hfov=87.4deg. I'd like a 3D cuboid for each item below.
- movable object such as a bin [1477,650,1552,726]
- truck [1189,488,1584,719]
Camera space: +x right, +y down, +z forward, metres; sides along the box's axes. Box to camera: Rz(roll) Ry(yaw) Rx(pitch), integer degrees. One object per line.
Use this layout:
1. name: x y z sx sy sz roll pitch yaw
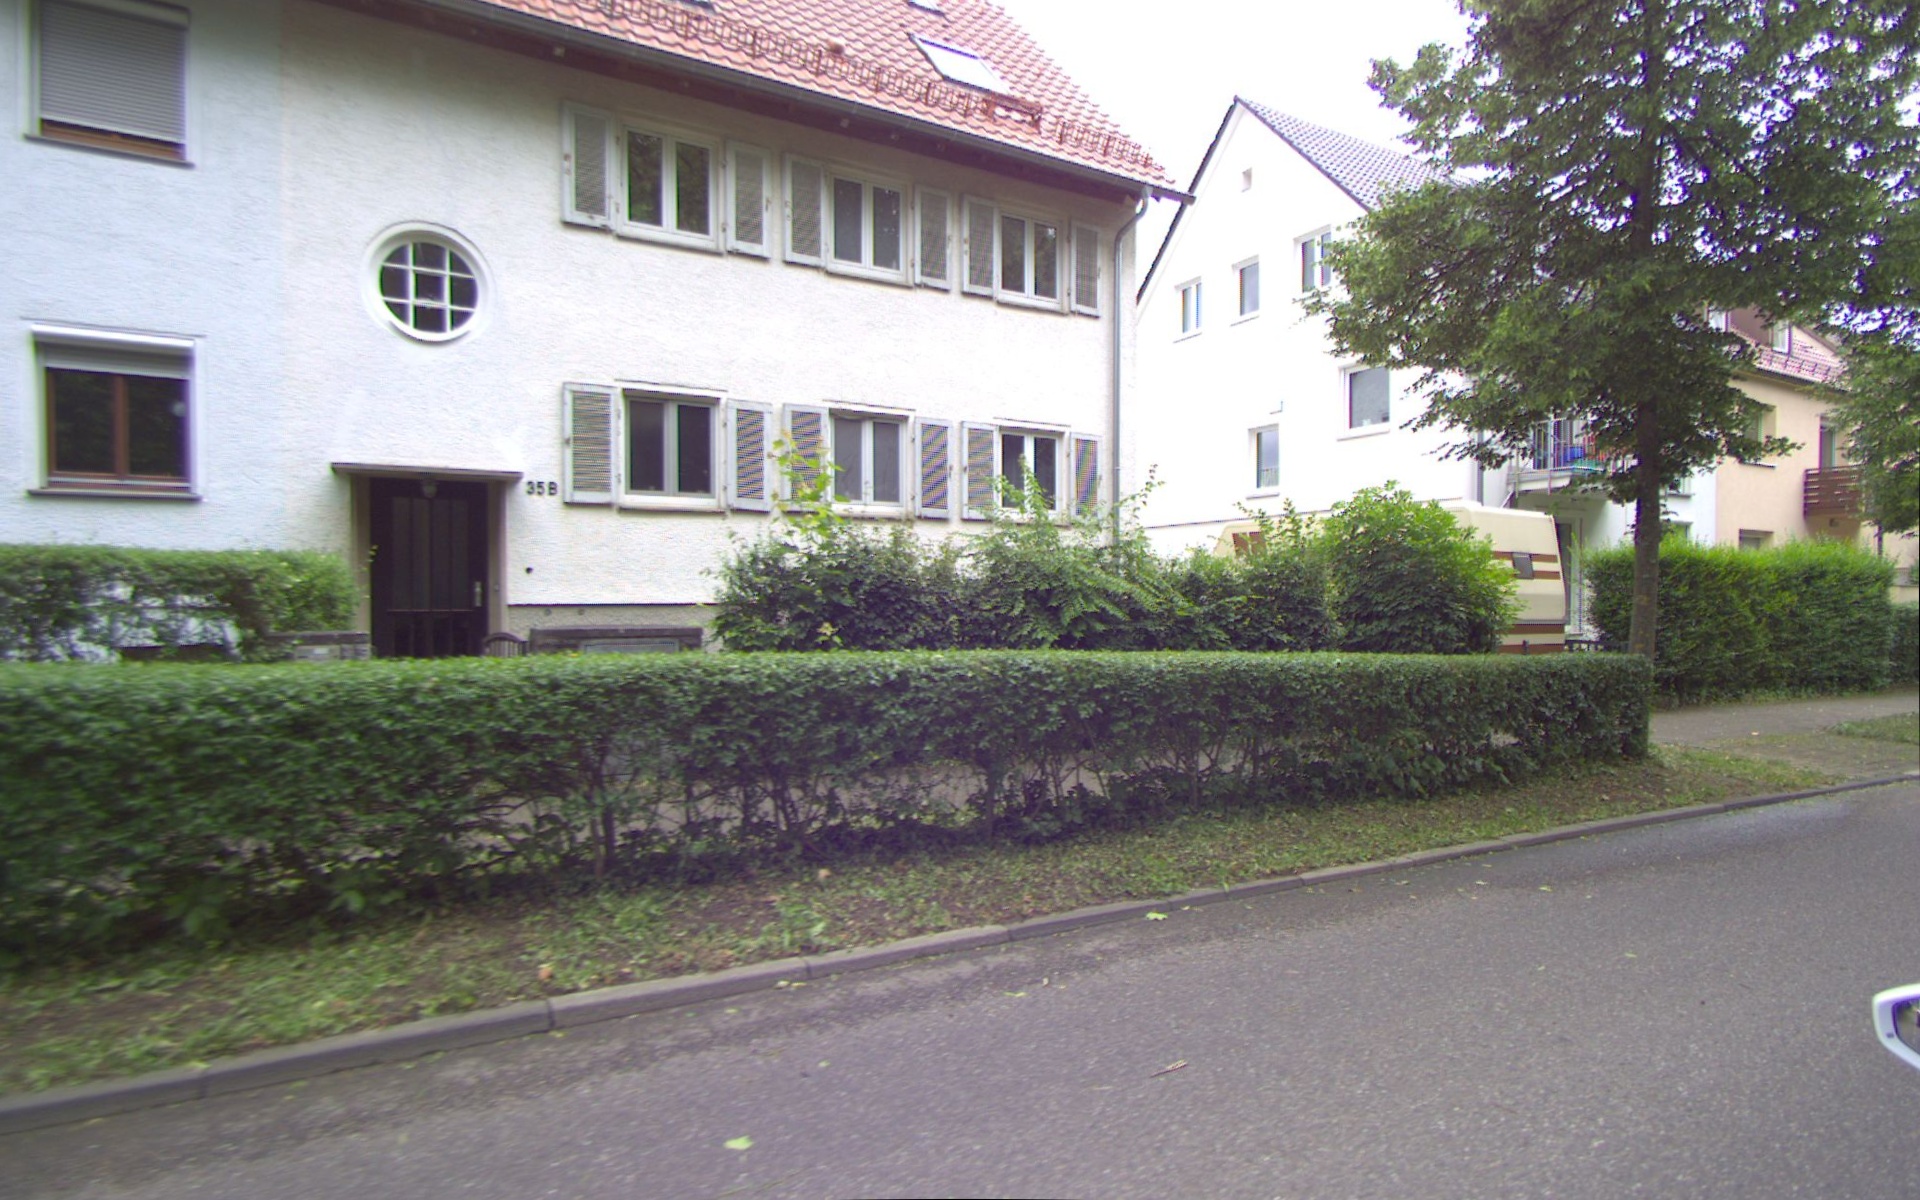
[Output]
1. movable object such as a bin: 7.209 1.126 13.066 0.684 0.938 0.578 1 -1 -27
2. truck: 6.825 0.049 16.939 2.489 3.173 5.767 1 0 -30
